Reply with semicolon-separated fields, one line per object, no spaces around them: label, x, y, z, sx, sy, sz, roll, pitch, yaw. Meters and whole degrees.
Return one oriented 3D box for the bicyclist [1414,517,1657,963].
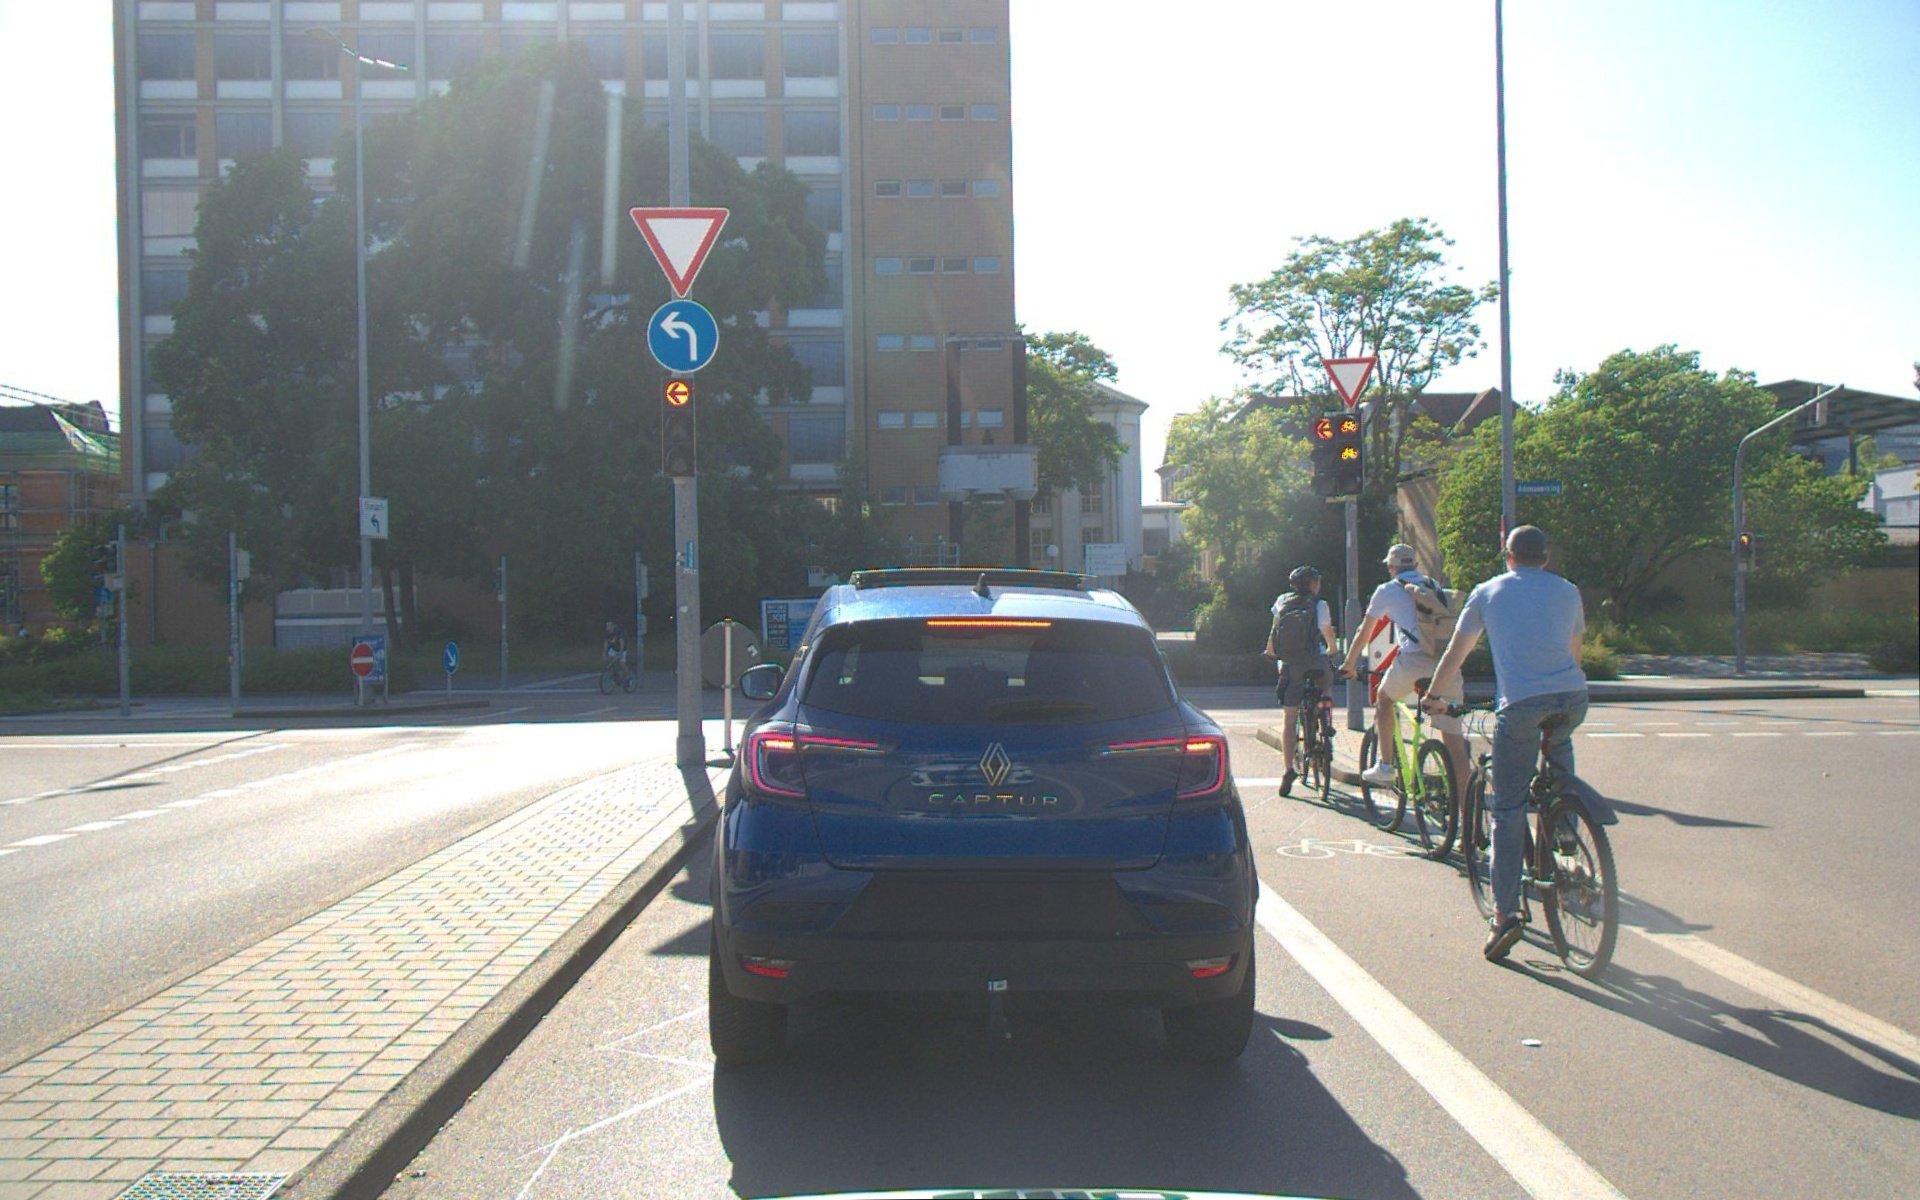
bicyclist;2.516;0.574;7.347;0.669;1.822;1.142;0;0;-1

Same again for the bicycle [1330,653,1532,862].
bicycle;2.848;0.911;10.213;0.675;1.108;1.922;0;0;-1

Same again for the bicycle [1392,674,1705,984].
bicycle;2.514;0.921;7.318;0.675;1.108;1.922;0;0;-1

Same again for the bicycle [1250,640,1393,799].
bicycle;2.780;0.887;12.908;0.675;1.108;1.922;0;0;-1

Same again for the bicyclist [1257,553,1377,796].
bicyclist;2.780;0.560;12.976;0.685;1.822;1.142;0;0;-1

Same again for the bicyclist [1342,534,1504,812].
bicyclist;2.836;0.428;10.233;0.664;1.622;1.142;0;0;-1

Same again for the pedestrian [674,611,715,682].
pedestrian;-7.212;1.247;44.913;0.796;1.895;0.910;-1;0;13

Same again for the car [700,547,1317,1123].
car;0.058;0.664;6.645;1.753;1.613;3.912;0;0;-3

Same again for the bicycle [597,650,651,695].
bicycle;-8.305;1.781;40.950;0.739;1.002;2.095;-1;0;5

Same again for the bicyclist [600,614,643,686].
bicyclist;-8.333;1.218;40.730;0.739;1.746;0.999;-1;0;5
